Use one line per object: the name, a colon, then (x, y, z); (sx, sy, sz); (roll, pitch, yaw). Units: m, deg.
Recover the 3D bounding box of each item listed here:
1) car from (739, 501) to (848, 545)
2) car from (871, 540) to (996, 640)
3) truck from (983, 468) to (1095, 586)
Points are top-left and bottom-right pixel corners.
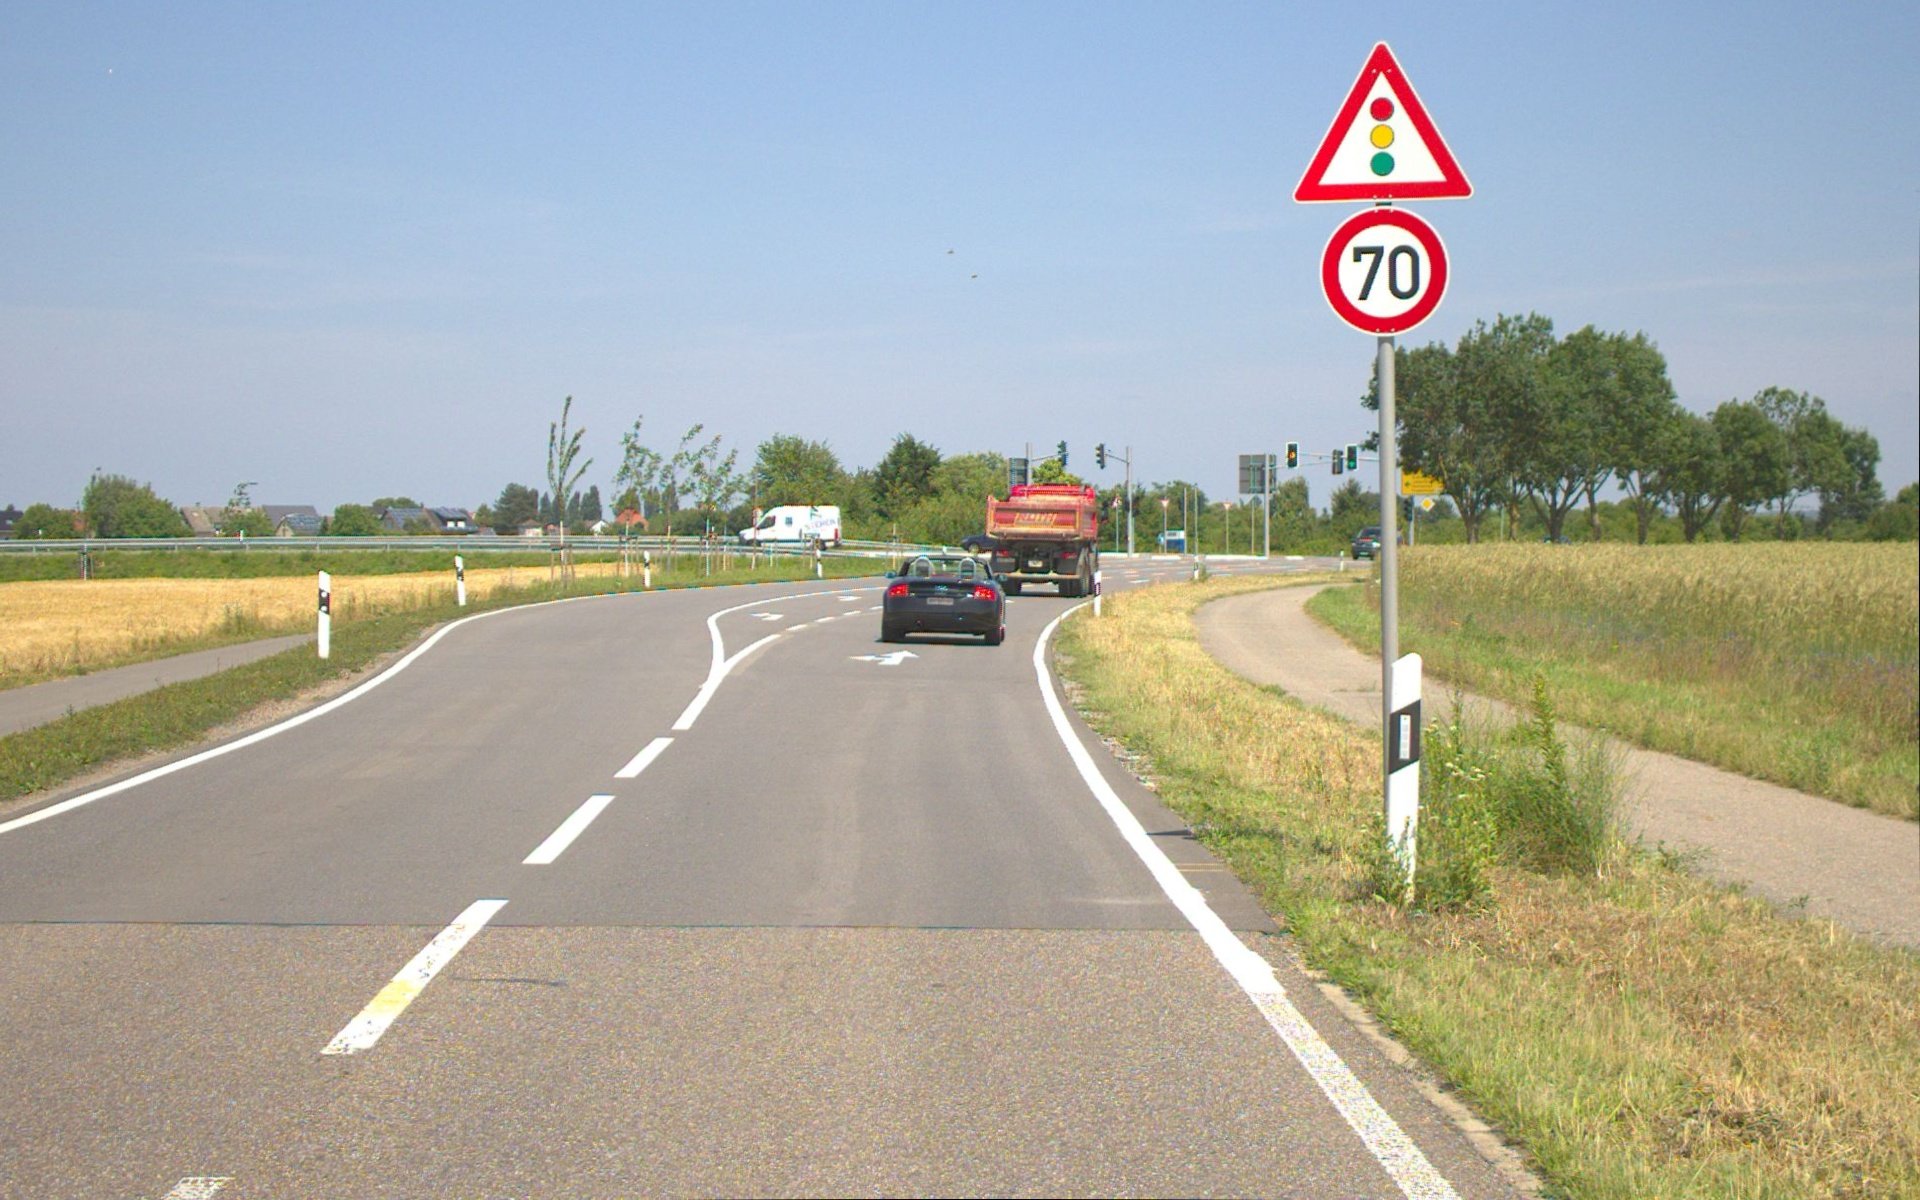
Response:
car: (-9.482, -4.374, 195.918); (5.919, 2.413, 2.247); (1, 1, 6)
car: (-0.419, -0.152, 51.021); (1.747, 1.371, 3.679); (2, 0, -1)
truck: (2.225, -1.942, 94.030); (2.714, 3.042, 8.163); (1, 0, 4)
